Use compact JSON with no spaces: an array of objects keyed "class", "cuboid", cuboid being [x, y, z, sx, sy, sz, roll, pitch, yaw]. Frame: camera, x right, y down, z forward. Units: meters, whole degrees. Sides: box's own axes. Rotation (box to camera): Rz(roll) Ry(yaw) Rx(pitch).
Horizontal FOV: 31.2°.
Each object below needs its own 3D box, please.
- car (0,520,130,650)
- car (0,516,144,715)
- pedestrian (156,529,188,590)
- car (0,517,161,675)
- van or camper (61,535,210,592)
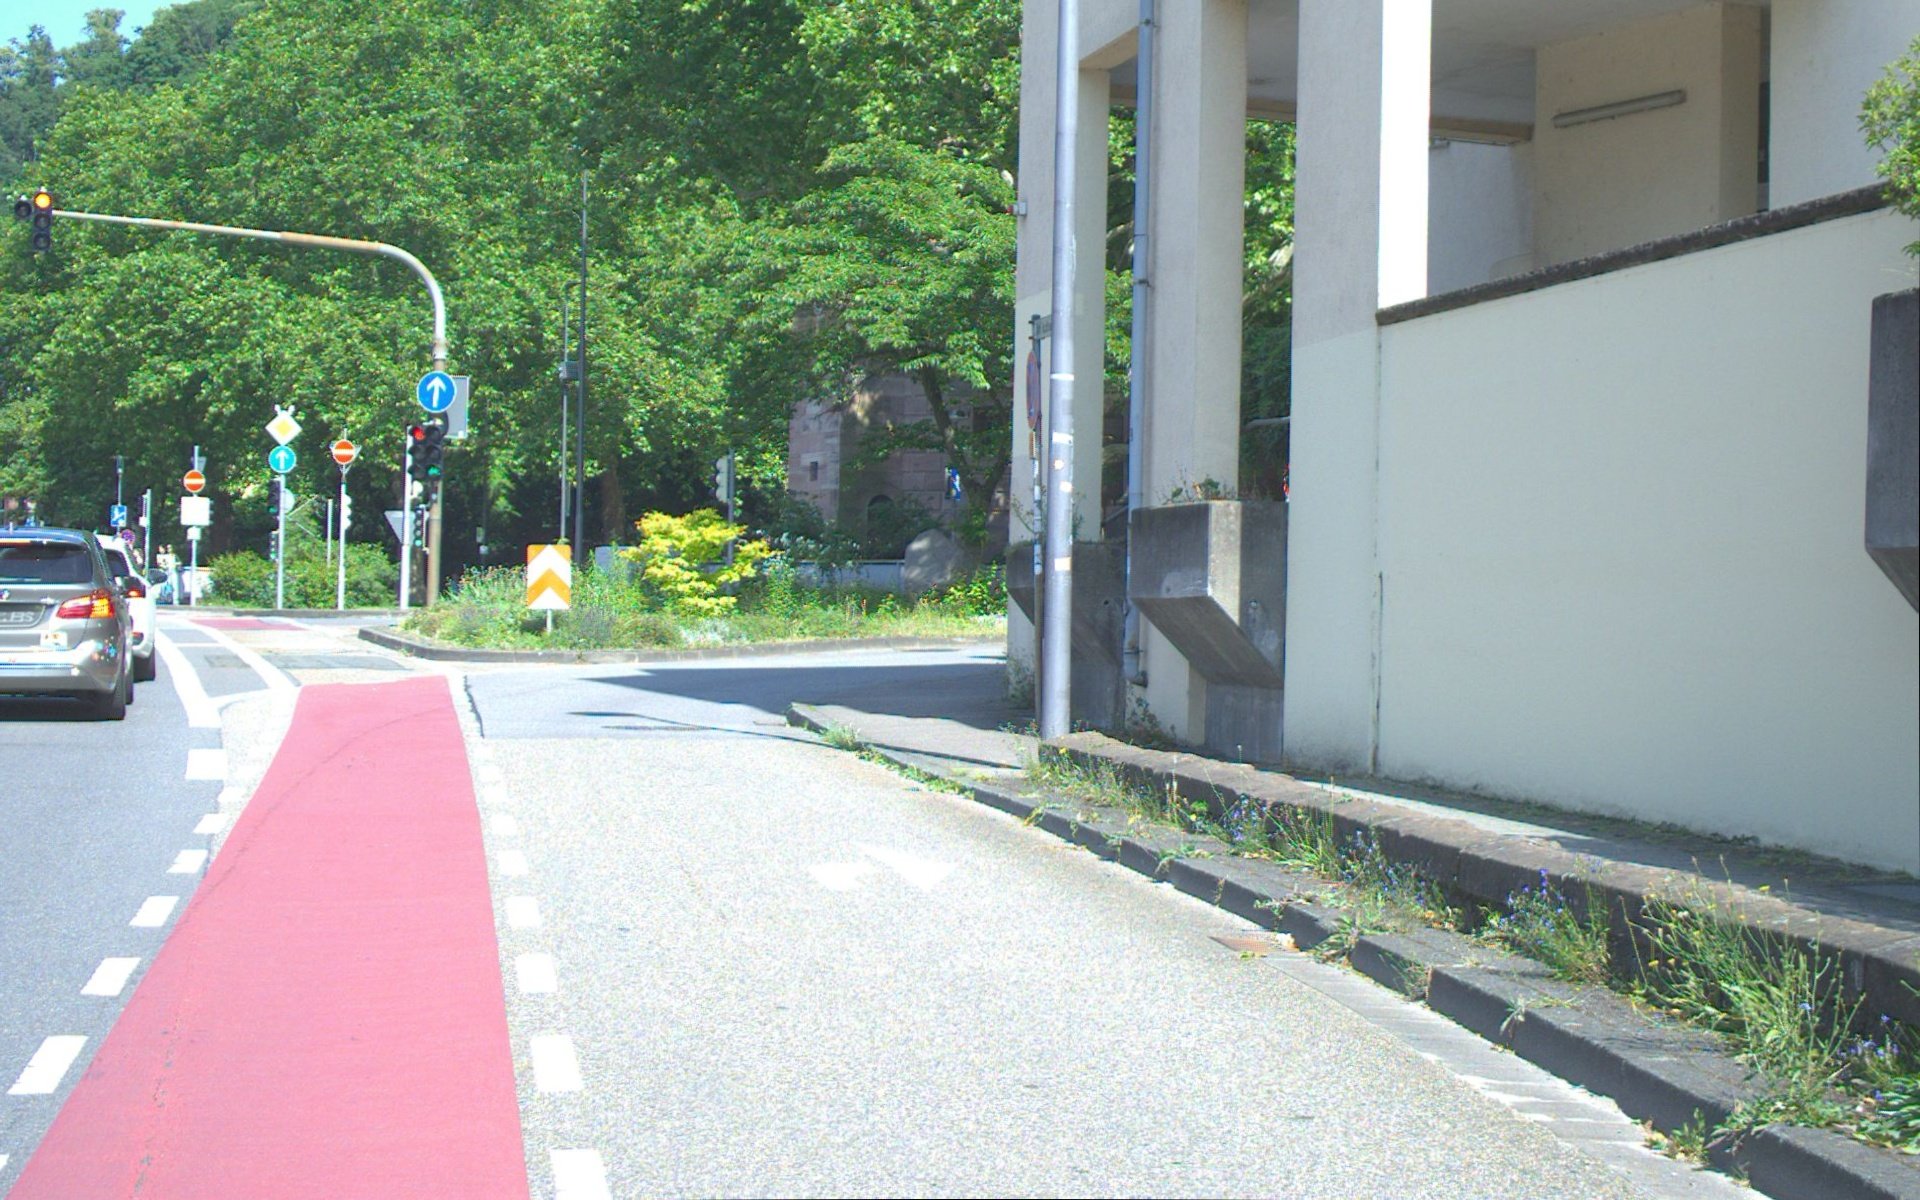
[{"class":"car","cuboid":[-11.288,-0.219,42.880,1.785,1.527,4.738,0,1,-14]},{"class":"car","cuboid":[-7.874,0.075,28.607,1.888,1.516,4.307,2,0,-11]},{"class":"pedestrian","cuboid":[-22.038,-1.148,96.162,0.761,1.703,0.878,0,1,-6]},{"class":"car","cuboid":[-9.407,-0.095,35.960,1.993,1.528,4.860,0,1,-12]},{"class":"van or camper","cuboid":[-28.149,-1.256,117.375,4.543,1.895,2.000,0,1,5]}]
